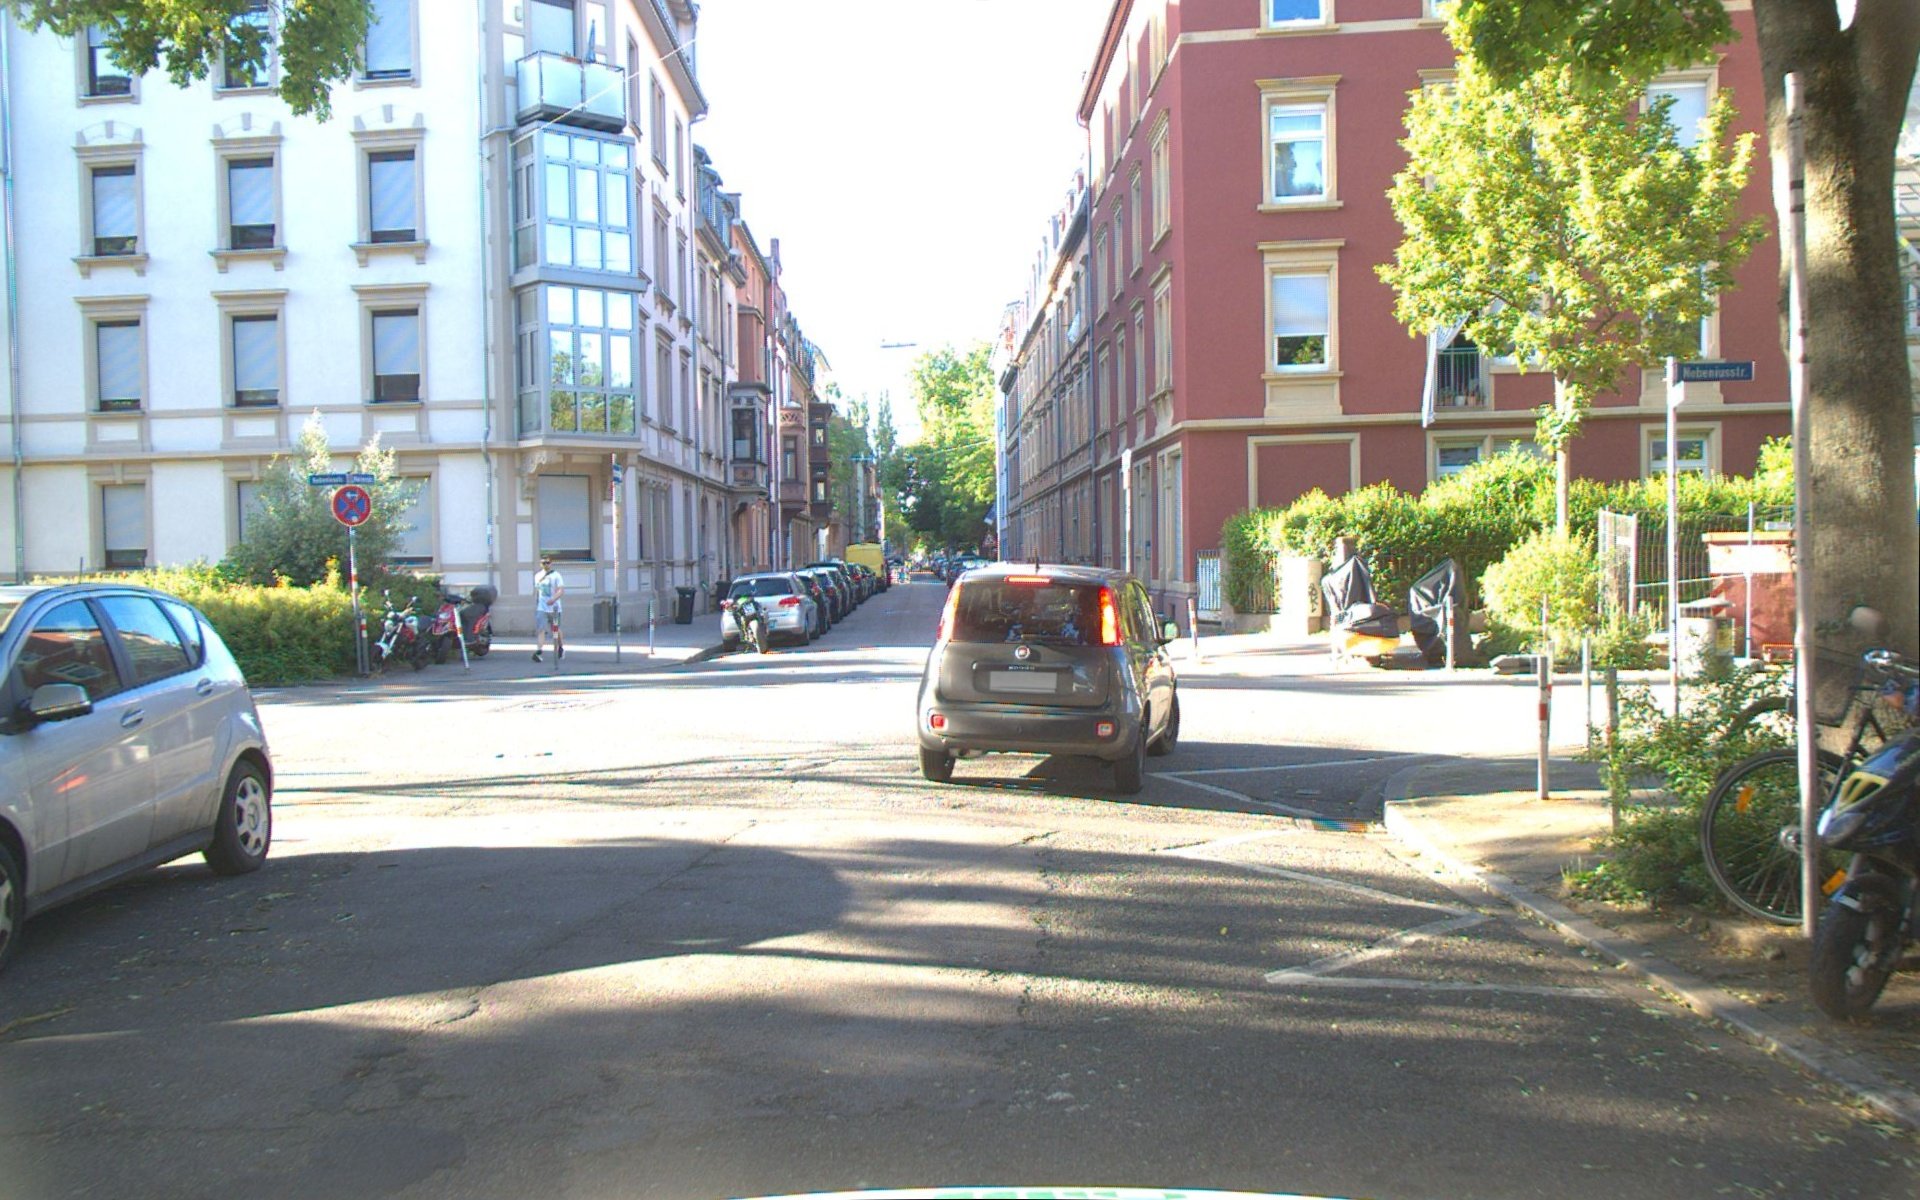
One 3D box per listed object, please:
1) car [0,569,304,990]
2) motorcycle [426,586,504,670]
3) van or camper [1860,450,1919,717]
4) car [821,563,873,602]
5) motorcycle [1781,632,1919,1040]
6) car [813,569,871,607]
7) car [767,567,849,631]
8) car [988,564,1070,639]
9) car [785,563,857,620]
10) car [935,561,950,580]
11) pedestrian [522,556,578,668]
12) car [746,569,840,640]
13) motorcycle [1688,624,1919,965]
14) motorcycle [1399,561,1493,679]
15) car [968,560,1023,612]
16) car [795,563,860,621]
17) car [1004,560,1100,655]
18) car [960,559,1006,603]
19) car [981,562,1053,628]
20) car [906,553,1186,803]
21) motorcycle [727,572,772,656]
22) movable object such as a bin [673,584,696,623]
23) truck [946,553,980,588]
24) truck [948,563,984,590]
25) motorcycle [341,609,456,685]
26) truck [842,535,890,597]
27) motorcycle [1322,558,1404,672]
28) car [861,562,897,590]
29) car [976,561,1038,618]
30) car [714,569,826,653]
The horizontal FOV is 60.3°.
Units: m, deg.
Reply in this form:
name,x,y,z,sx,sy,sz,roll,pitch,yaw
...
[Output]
name,x,y,z,sx,sy,sz,roll,pitch,yaw
car,-4.567,0.730,7.429,1.663,1.577,3.918,-5,2,-2
motorcycle,-8.240,0.452,27.589,0.507,1.316,1.613,0,2,12
van or camper,11.717,-0.228,15.390,5.468,2.487,2.147,-1,3,8
car,-4.927,-0.795,72.626,1.922,1.504,3.925,-5,1,0
motorcycle,3.760,0.760,5.757,1.472,1.288,0.619,-2,1,-2
car,-4.595,-0.481,64.983,1.922,1.245,3.925,-5,2,0
car,-4.137,-0.065,45.444,1.788,1.492,3.925,-5,1,0
car,1.467,-0.002,36.307,1.629,1.531,3.757,0,1,0
car,-4.202,-0.292,50.543,1.792,1.504,3.925,-5,1,0
car,-1.624,-2.783,155.691,1.340,1.646,3.414,-1,1,0
pedestrian,-6.965,0.192,28.081,0.707,1.871,0.627,0,1,10
car,-3.903,0.065,39.233,1.741,1.437,3.925,-5,1,0
motorcycle,3.935,0.751,6.572,1.811,1.288,0.505,-2,1,13
motorcycle,6.649,0.226,22.758,0.809,1.428,2.559,-1,3,7
car,1.098,-0.478,51.887,1.629,1.559,3.757,0,1,0
car,-4.430,-0.316,55.697,1.739,1.727,3.925,-5,1,0
car,1.717,0.085,31.818,1.629,1.698,3.757,0,1,0
car,0.839,-0.731,60.966,1.629,1.531,3.757,0,1,0
car,1.365,-0.158,40.902,1.629,1.531,3.757,0,1,0
car,0.768,0.457,12.496,1.598,1.577,3.268,1,2,12
motorcycle,-3.931,0.237,30.849,0.684,1.486,1.747,-3,1,-10
movable object such as a bin,-6.982,0.091,41.964,0.501,0.969,0.501,-1,1,-4
truck,0.179,-1.818,100.551,1.953,2.026,4.000,-1,1,-1
truck,0.336,-1.362,95.180,1.953,1.482,4.000,-1,1,-1
motorcycle,-8.543,0.693,25.232,0.675,1.002,1.822,3,3,19
truck,-4.881,-1.804,86.723,2.029,2.975,5.068,-5,1,0
motorcycle,5.671,0.180,23.383,0.998,1.428,2.195,-1,3,11
car,-4.970,-1.494,101.997,1.922,1.504,3.925,-5,1,0
car,1.311,-0.339,47.302,1.629,1.531,3.757,0,1,0
car,-3.859,0.179,34.148,1.760,1.456,3.925,-5,1,0
